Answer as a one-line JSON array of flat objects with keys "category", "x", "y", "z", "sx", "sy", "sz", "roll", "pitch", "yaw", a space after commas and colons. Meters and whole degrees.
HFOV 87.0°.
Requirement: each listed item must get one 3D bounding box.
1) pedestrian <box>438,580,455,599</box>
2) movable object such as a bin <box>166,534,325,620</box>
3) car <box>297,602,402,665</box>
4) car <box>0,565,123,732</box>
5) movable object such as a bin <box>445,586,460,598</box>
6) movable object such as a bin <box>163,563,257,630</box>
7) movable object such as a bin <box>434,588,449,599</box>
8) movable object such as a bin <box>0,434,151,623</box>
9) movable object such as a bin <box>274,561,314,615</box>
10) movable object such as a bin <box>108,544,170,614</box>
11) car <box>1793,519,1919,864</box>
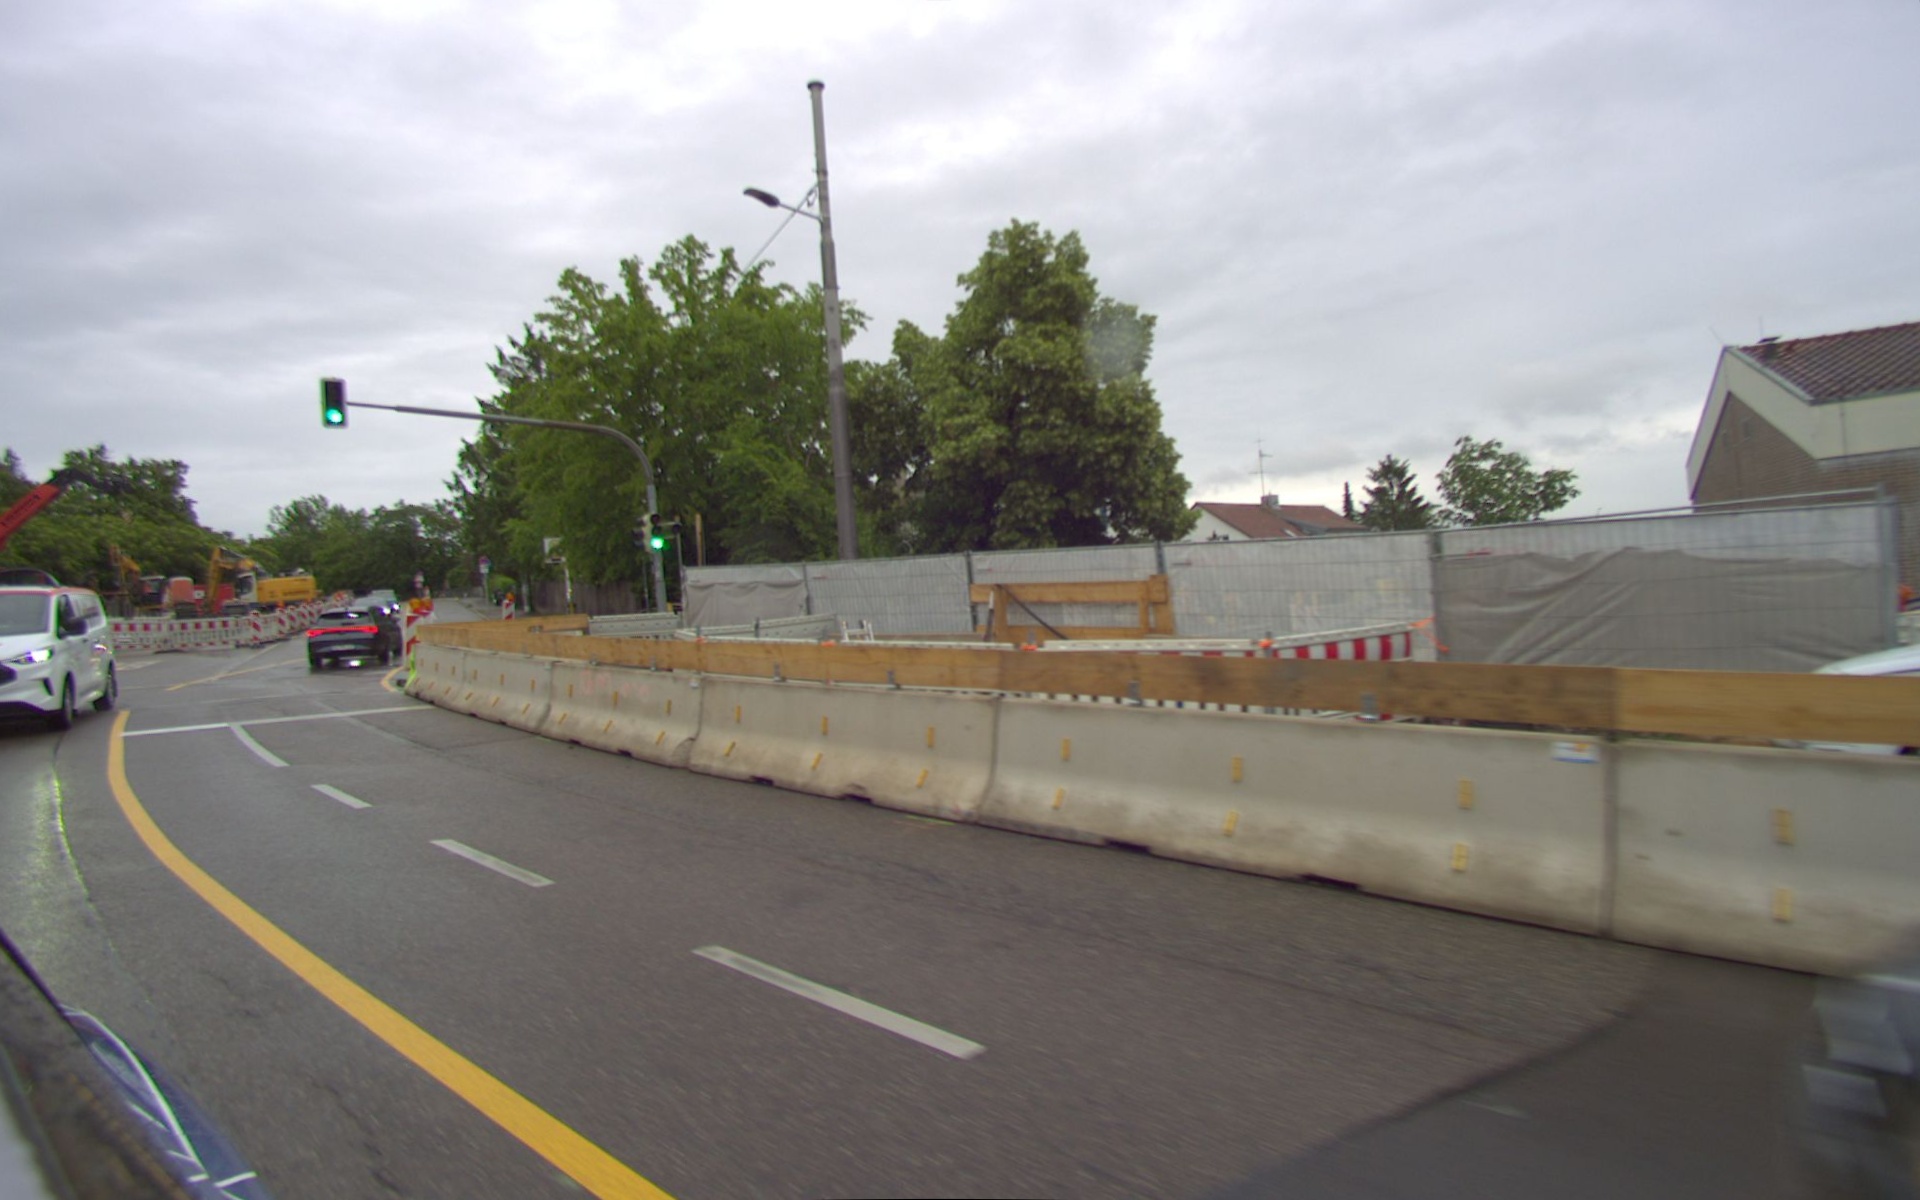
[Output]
[{"category": "pedestrian", "x": -49.081, "y": -1.018, "z": 96.734, "sx": 0.977, "sy": 1.781, "sz": 0.916, "roll": -3, "pitch": 1, "yaw": 32}, {"category": "movable object such as a bin", "x": -44.580, "y": -1.513, "z": 63.049, "sx": 10.761, "sy": 4.953, "sz": 3.042, "roll": 1, "pitch": 5, "yaw": 26}, {"category": "car", "x": -15.809, "y": 0.794, "z": 26.407, "sx": 1.758, "sy": 1.413, "sz": 4.380, "roll": -3, "pitch": 1, "yaw": -24}, {"category": "car", "x": -13.432, "y": 0.602, "z": 14.122, "sx": 1.966, "sy": 2.029, "sz": 4.963, "roll": 1, "pitch": -1, "yaw": -31}, {"category": "movable object such as a bin", "x": -51.287, "y": -0.806, "z": 102.250, "sx": 1.027, "sy": 1.115, "sz": 0.976, "roll": -5, "pitch": -1, "yaw": 42}, {"category": "movable object such as a bin", "x": -41.794, "y": -0.203, "z": 56.468, "sx": 3.937, "sy": 3.228, "sz": 2.412, "roll": -5, "pitch": -2, "yaw": -38}, {"category": "movable object such as a bin", "x": -52.011, "y": -0.653, "z": 101.510, "sx": 1.027, "sy": 1.115, "sz": 0.976, "roll": -3, "pitch": 0, "yaw": 42}, {"category": "movable object such as a bin", "x": -34.863, "y": -2.596, "z": 37.598, "sx": 6.856, "sy": 6.738, "sz": 3.054, "roll": -4, "pitch": 3, "yaw": -32}, {"category": "movable object such as a bin", "x": -44.504, "y": -0.855, "z": 67.656, "sx": 1.967, "sy": 3.328, "sz": 3.847, "roll": -4, "pitch": 5, "yaw": -32}, {"category": "movable object such as a bin", "x": -48.964, "y": -1.258, "z": 60.461, "sx": 1.966, "sy": 3.917, "sz": 4.631, "roll": -4, "pitch": 2, "yaw": -31}, {"category": "car", "x": 7.735, "y": 0.316, "z": 5.417, "sx": 4.806, "sy": 2.029, "sz": 1.972, "roll": -8, "pitch": -4, "yaw": 42}]
